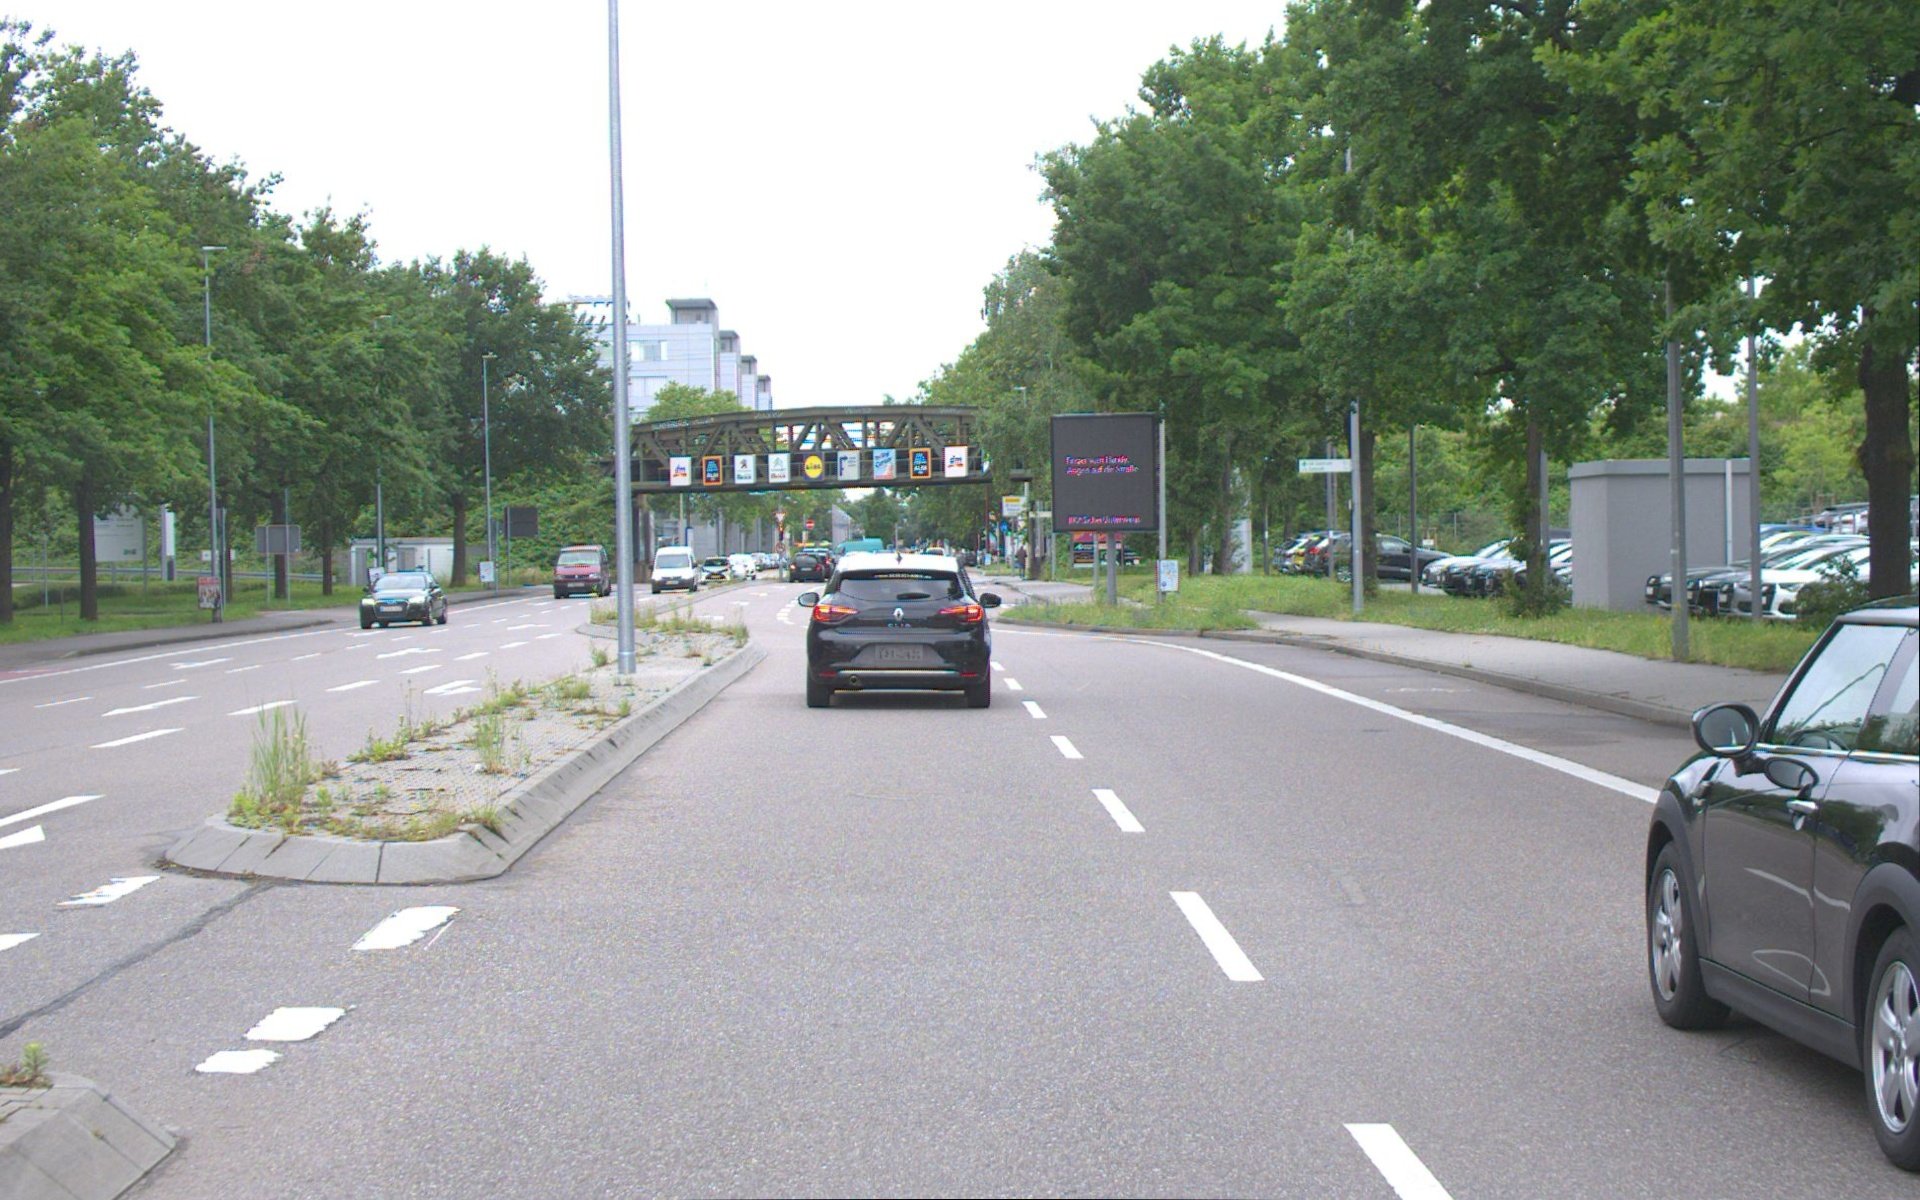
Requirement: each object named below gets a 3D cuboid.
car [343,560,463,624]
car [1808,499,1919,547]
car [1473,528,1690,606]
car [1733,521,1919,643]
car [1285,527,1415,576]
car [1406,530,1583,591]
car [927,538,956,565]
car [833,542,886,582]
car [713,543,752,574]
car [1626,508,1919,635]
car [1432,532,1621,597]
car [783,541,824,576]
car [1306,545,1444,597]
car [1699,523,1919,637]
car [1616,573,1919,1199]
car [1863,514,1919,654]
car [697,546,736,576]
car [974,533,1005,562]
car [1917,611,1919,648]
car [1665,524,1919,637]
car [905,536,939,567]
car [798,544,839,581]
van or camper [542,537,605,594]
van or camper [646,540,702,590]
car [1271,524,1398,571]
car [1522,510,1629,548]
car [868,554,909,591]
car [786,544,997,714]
[{"bbox_3d":[-14.211,-0.231,87.869,1.918,1.497,4.251,-3,0,6],"label":"car"},{"bbox_3d":[28.831,-2.412,107.604,4.085,1.430,1.730,0,3,-2],"label":"car"},{"bbox_3d":[13.653,-0.743,75.720,4.343,1.498,1.930,3,1,-1],"label":"car"},{"bbox_3d":[13.907,-0.189,50.799,4.393,1.515,2.000,5,3,0],"label":"car"},{"bbox_3d":[12.158,-1.527,107.307,3.988,1.430,1.730,0,3,6],"label":"car"},{"bbox_3d":[13.268,-0.994,85.426,4.085,1.430,1.730,0,3,-2],"label":"car"},{"bbox_3d":[-1.338,-3.562,249.768,1.950,1.809,4.000,0,3,2],"label":"car"},{"bbox_3d":[-4.429,-1.691,152.222,2.135,1.656,3.782,0,3,2],"label":"car"},{"bbox_3d":[-13.260,-2.453,200.756,1.940,1.670,3.782,0,3,2],"label":"car"},{"bbox_3d":[13.835,-0.502,58.383,4.550,1.696,2.000,5,3,1],"label":"car"},{"bbox_3d":[13.267,-0.842,80.703,4.085,1.430,1.822,0,3,-2],"label":"car"},{"bbox_3d":[-8.124,-2.155,178.871,1.884,1.656,3.782,0,3,2],"label":"car"},{"bbox_3d":[12.207,-0.873,101.235,3.988,1.430,1.730,0,3,6],"label":"car"},{"bbox_3d":[13.886,-0.279,53.374,4.294,1.499,2.029,5,1,1],"label":"car"},{"bbox_3d":[3.062,0.678,9.490,1.786,1.411,3.644,0,2,0],"label":"car"},{"bbox_3d":[13.645,-0.074,42.806,4.176,1.656,2.000,4,3,1],"label":"car"},{"bbox_3d":[-12.927,-2.094,182.505,1.754,1.441,3.339,0,3,2],"label":"car"},{"bbox_3d":[1.994,-3.557,231.303,1.950,1.809,4.000,0,3,2],"label":"car"},{"bbox_3d":[13.650,0.027,40.339,4.182,1.481,1.977,4,3,0],"label":"car"},{"bbox_3d":[13.784,-0.308,55.785,4.176,1.441,1.960,5,3,1],"label":"car"},{"bbox_3d":[-2.376,-3.009,213.795,1.950,1.809,4.000,0,3,2],"label":"car"},{"bbox_3d":[-7.612,-2.039,185.544,1.950,1.809,4.000,0,3,2],"label":"car"},{"bbox_3d":[-14.554,-1.317,129.700,1.875,1.979,4.890,-2,2,-1],"label":"van or camper"},{"bbox_3d":[-11.041,-1.384,133.035,1.755,1.741,4.407,-4,1,-1],"label":"van or camper"},{"bbox_3d":[11.947,-1.678,109.658,3.988,1.430,1.730,0,3,6],"label":"car"},{"bbox_3d":[24.128,-2.782,134.851,3.988,1.430,1.730,0,3,6],"label":"car"},{"bbox_3d":[-3.776,-1.481,182.004,1.950,1.809,4.000,0,3,2],"label":"car"},{"bbox_3d":[-0.596,0.227,32.840,1.757,1.429,4.000,-1,2,2],"label":"car"}]
